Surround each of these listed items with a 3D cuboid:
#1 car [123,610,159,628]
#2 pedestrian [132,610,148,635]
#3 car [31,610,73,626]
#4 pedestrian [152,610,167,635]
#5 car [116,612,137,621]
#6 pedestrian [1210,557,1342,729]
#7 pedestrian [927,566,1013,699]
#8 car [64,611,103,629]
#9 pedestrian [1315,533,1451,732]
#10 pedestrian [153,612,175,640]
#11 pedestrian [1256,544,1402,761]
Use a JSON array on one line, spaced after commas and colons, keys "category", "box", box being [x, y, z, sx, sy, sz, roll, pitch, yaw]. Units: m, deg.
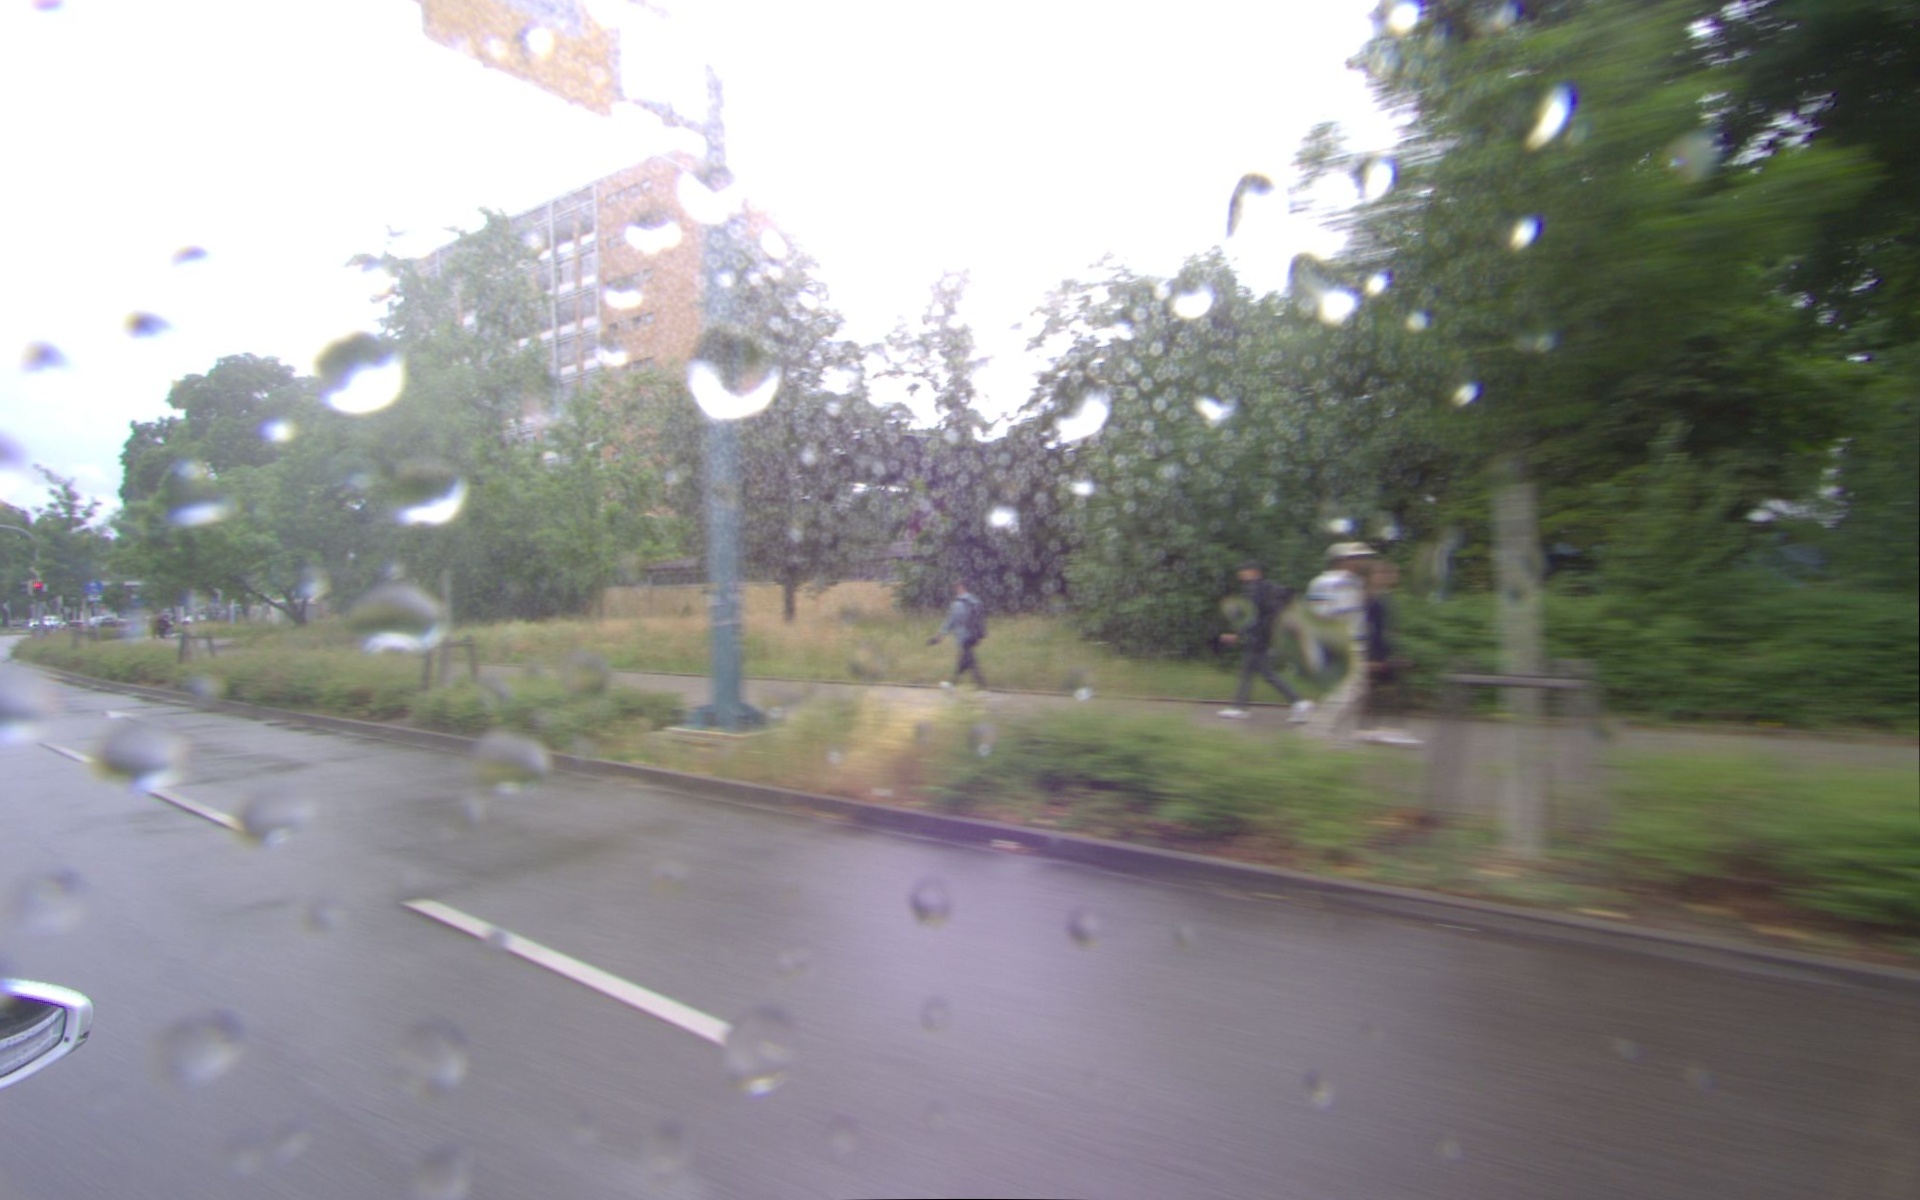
[{"category": "car", "box": [-81.116, 1.889, 99.253, 1.768, 1.665, 4.143, -1, 0, -25]}, {"category": "pedestrian", "box": [-52.326, 1.437, 63.902, 0.747, 1.609, 0.929, -1, 1, -37]}, {"category": "car", "box": [-106.164, 2.088, 117.137, 1.801, 1.705, 5.151, -3, 2, -20]}, {"category": "pedestrian", "box": [-51.451, 1.423, 64.343, 0.696, 1.609, 0.929, -1, 1, -37]}, {"category": "car", "box": [-147.652, 2.898, 177.406, 1.767, 1.665, 4.145, -1, 0, -23]}, {"category": "pedestrian", "box": [3.443, 0.439, 10.951, 0.921, 1.771, 1.041, -1, 1, -25]}, {"category": "pedestrian", "box": [0.148, 0.445, 14.391, 0.927, 1.821, 0.820, -2, 1, -45]}, {"category": "car", "box": [-86.192, 1.954, 98.475, 1.768, 1.665, 4.143, -1, 0, -25]}, {"category": "pedestrian", "box": [3.928, 0.274, 9.292, 0.819, 1.727, 0.928, 4, 2, 43]}, {"category": "pedestrian", "box": [-47.582, 1.543, 59.861, 1.013, 1.609, 0.929, -1, 1, -37]}, {"category": "pedestrian", "box": [3.193, 0.415, 8.668, 0.819, 1.744, 0.928, 4, 2, 43]}]
